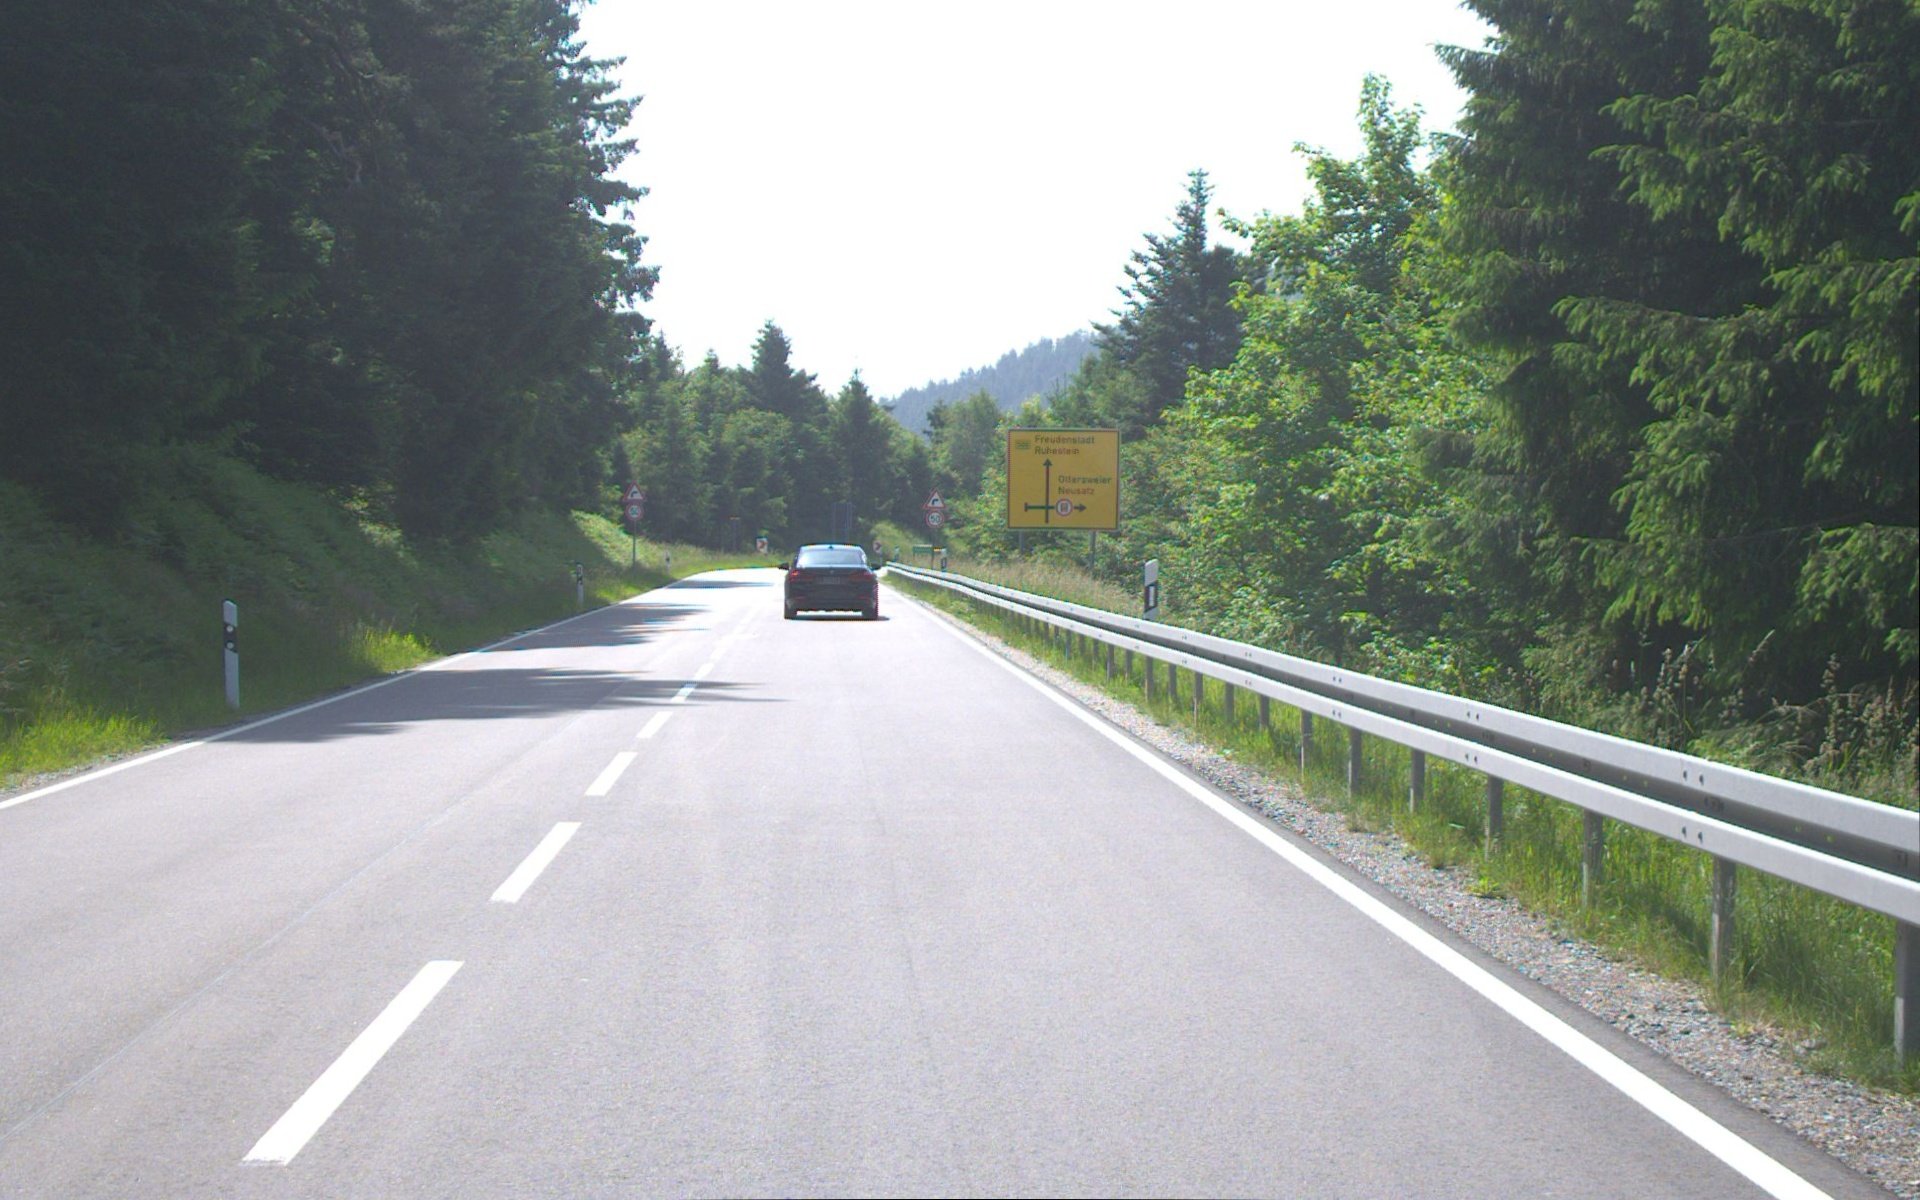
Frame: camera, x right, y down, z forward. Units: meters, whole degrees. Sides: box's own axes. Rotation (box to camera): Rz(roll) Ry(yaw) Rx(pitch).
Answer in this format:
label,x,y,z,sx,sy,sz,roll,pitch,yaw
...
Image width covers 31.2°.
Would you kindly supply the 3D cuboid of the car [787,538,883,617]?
label,x,y,z,sx,sy,sz,roll,pitch,yaw
car,-2.437,-0.445,66.344,1.776,1.437,3.709,-1,1,-3
